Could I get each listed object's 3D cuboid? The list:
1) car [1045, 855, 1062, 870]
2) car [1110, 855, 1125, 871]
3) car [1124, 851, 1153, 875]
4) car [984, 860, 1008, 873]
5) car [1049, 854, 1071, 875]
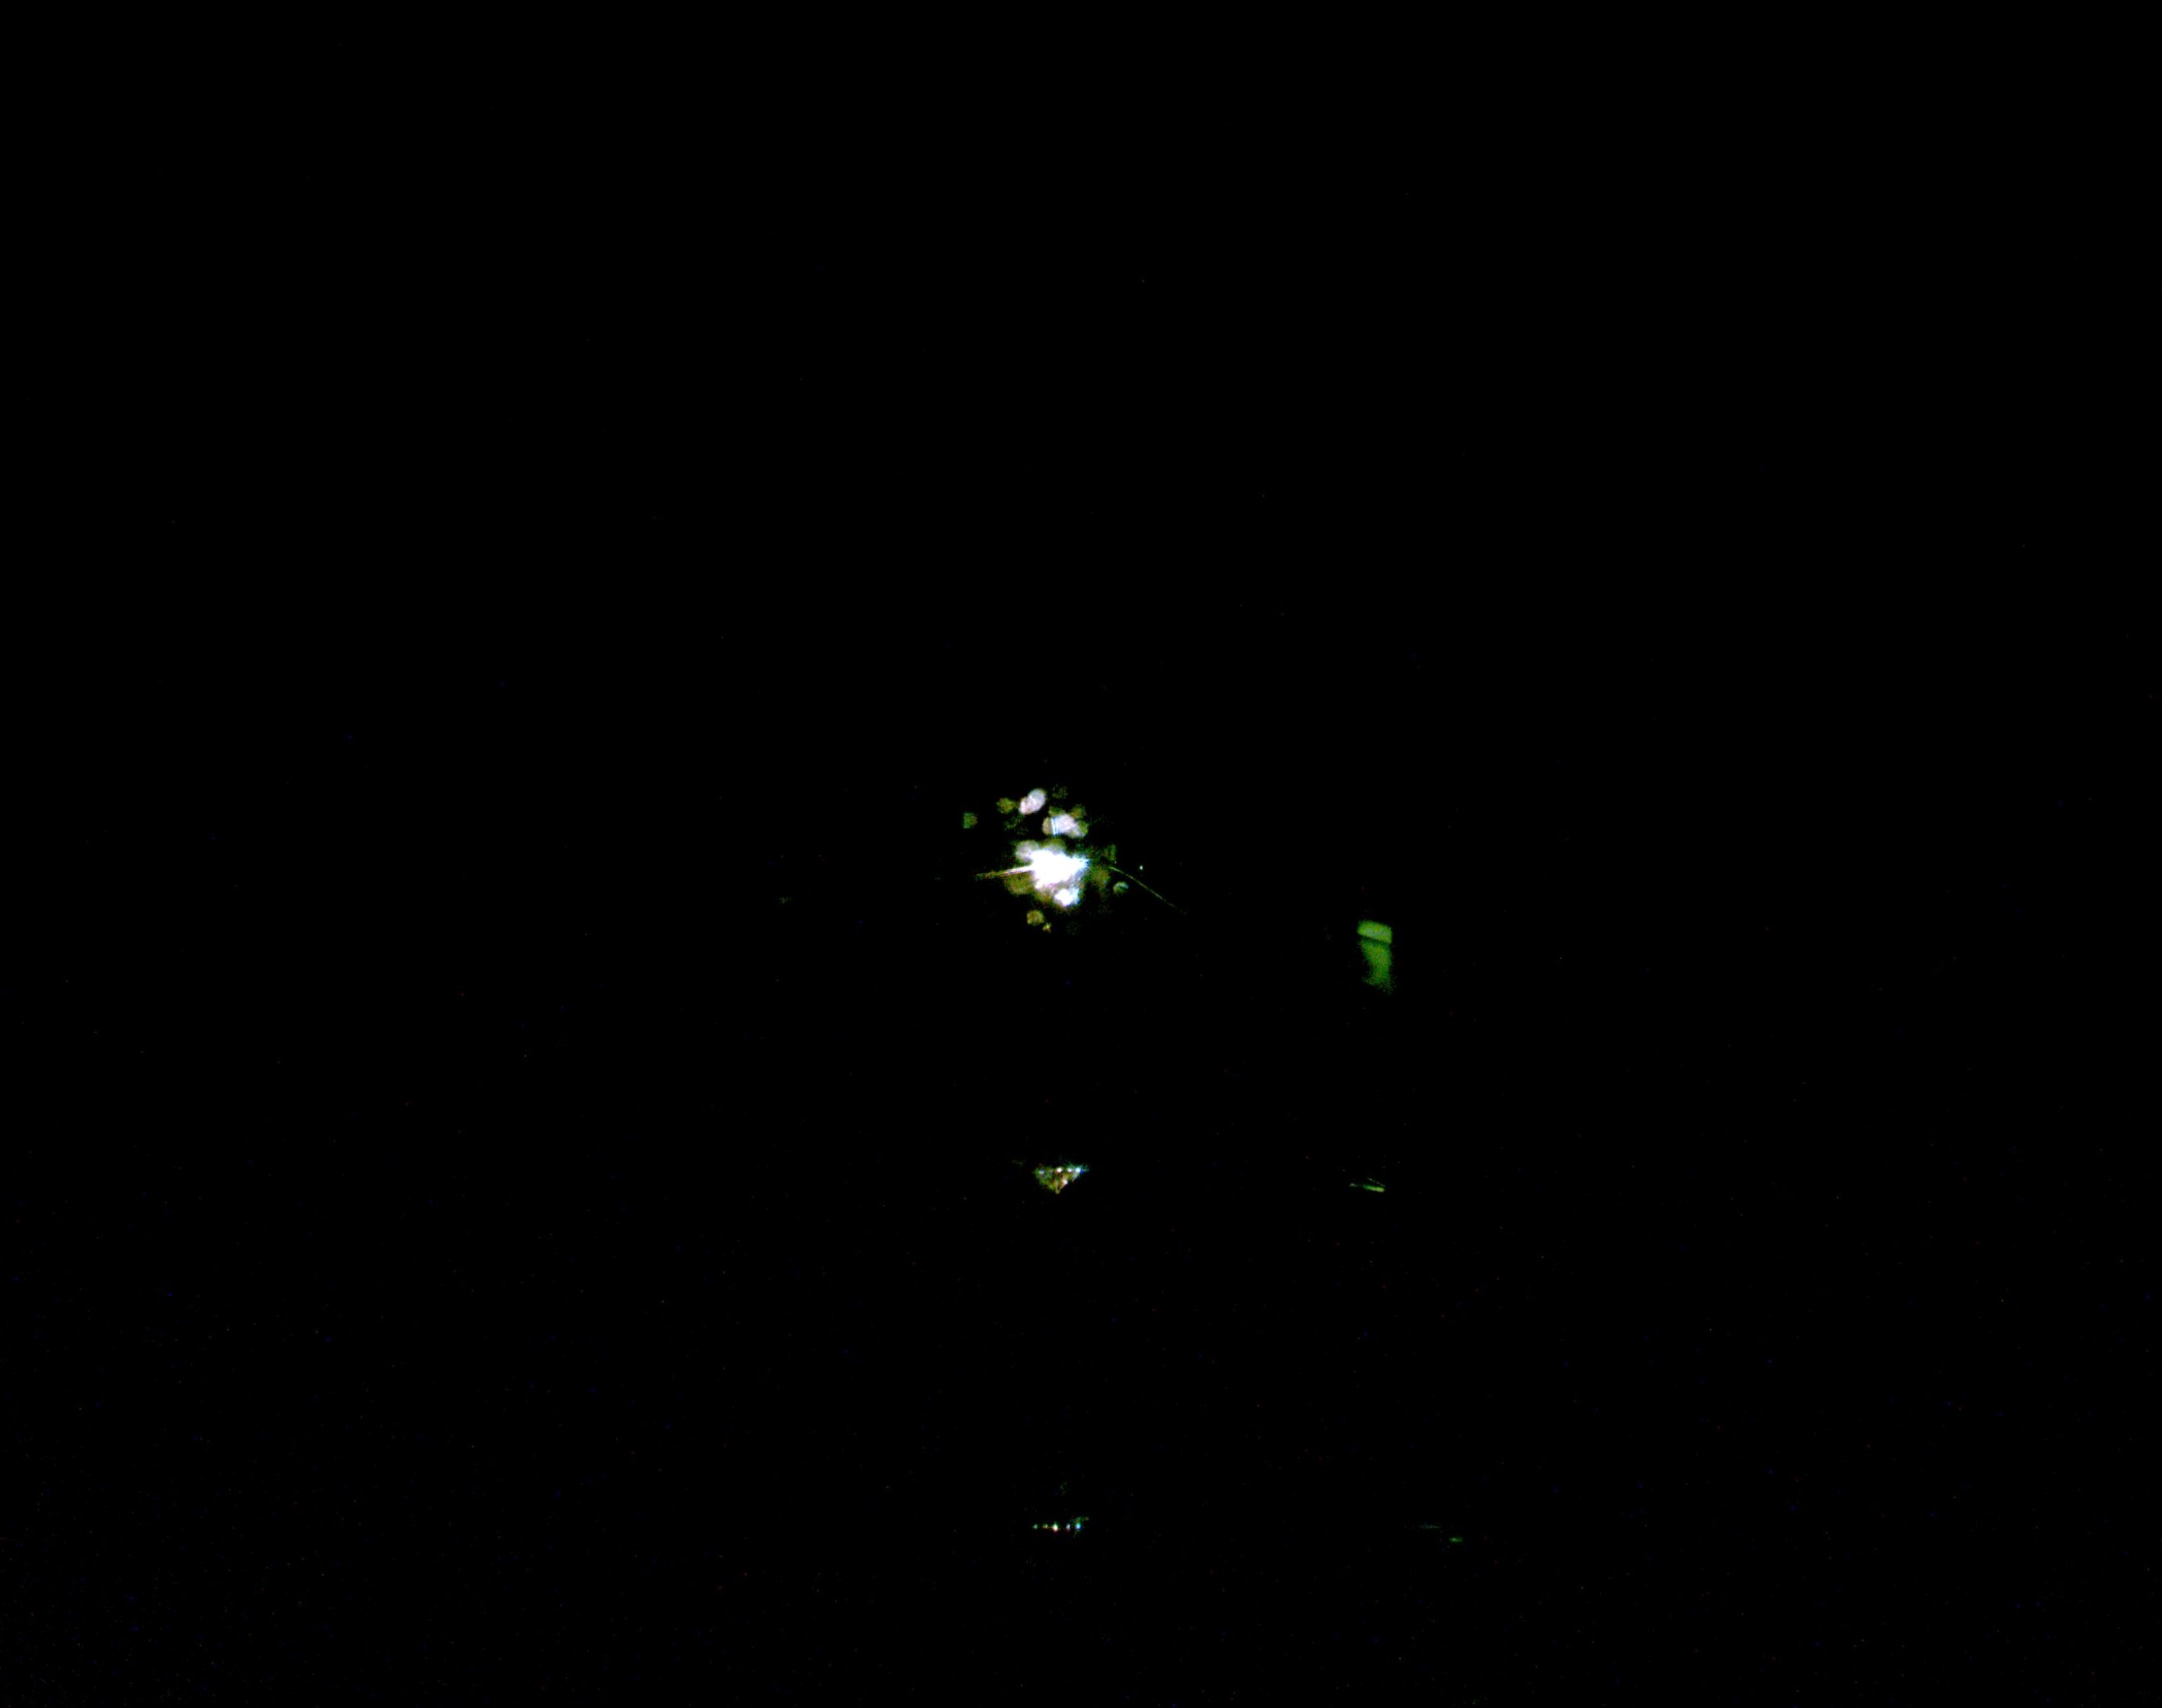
[{"bbox_3d":[-3.603,1.101,108.483,1.986,2.013,4.002,0,0,2],"label":"car"},{"bbox_3d":[4.838,1.160,108.463,1.986,2.013,4.002,0,0,2],"label":"car"},{"bbox_3d":[4.116,0.630,58.301,1.985,1.618,4.003,-1,0,3],"label":"car"},{"bbox_3d":[-9.351,1.373,89.807,1.986,1.448,4.432,0,0,2],"label":"car"},{"bbox_3d":[-2.087,1.049,80.868,1.986,2.013,4.002,0,0,2],"label":"car"}]
